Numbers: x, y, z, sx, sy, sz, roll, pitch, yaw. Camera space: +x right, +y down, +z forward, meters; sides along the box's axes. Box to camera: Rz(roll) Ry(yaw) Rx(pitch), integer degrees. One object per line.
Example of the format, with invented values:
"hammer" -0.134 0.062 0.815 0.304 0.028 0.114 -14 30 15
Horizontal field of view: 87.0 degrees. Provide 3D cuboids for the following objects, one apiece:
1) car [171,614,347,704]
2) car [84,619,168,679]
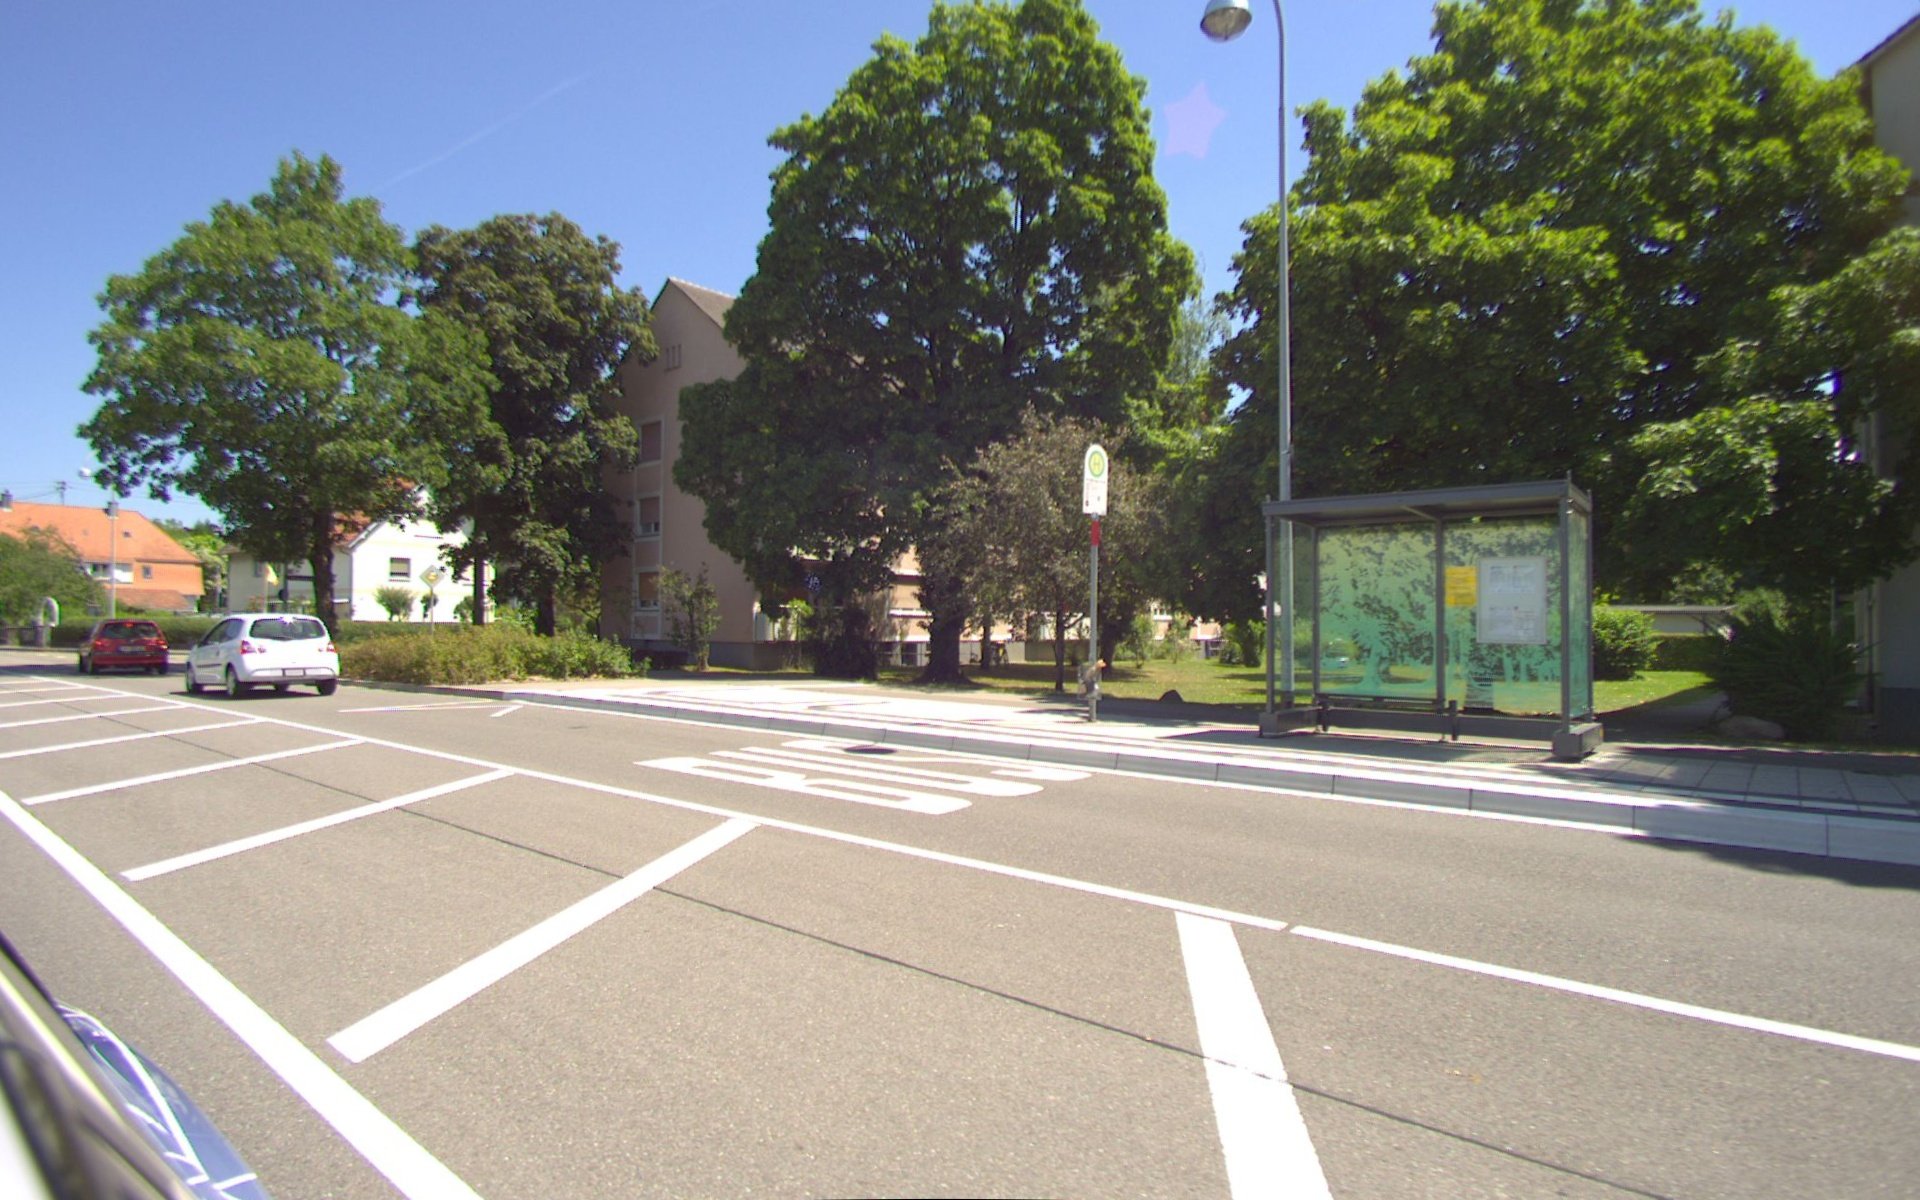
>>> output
"car" -12.955 1.039 18.646 3.634 1.471 1.674 -2 -1 38
"car" -21.898 1.246 26.529 1.531 1.461 3.695 2 -3 -41
